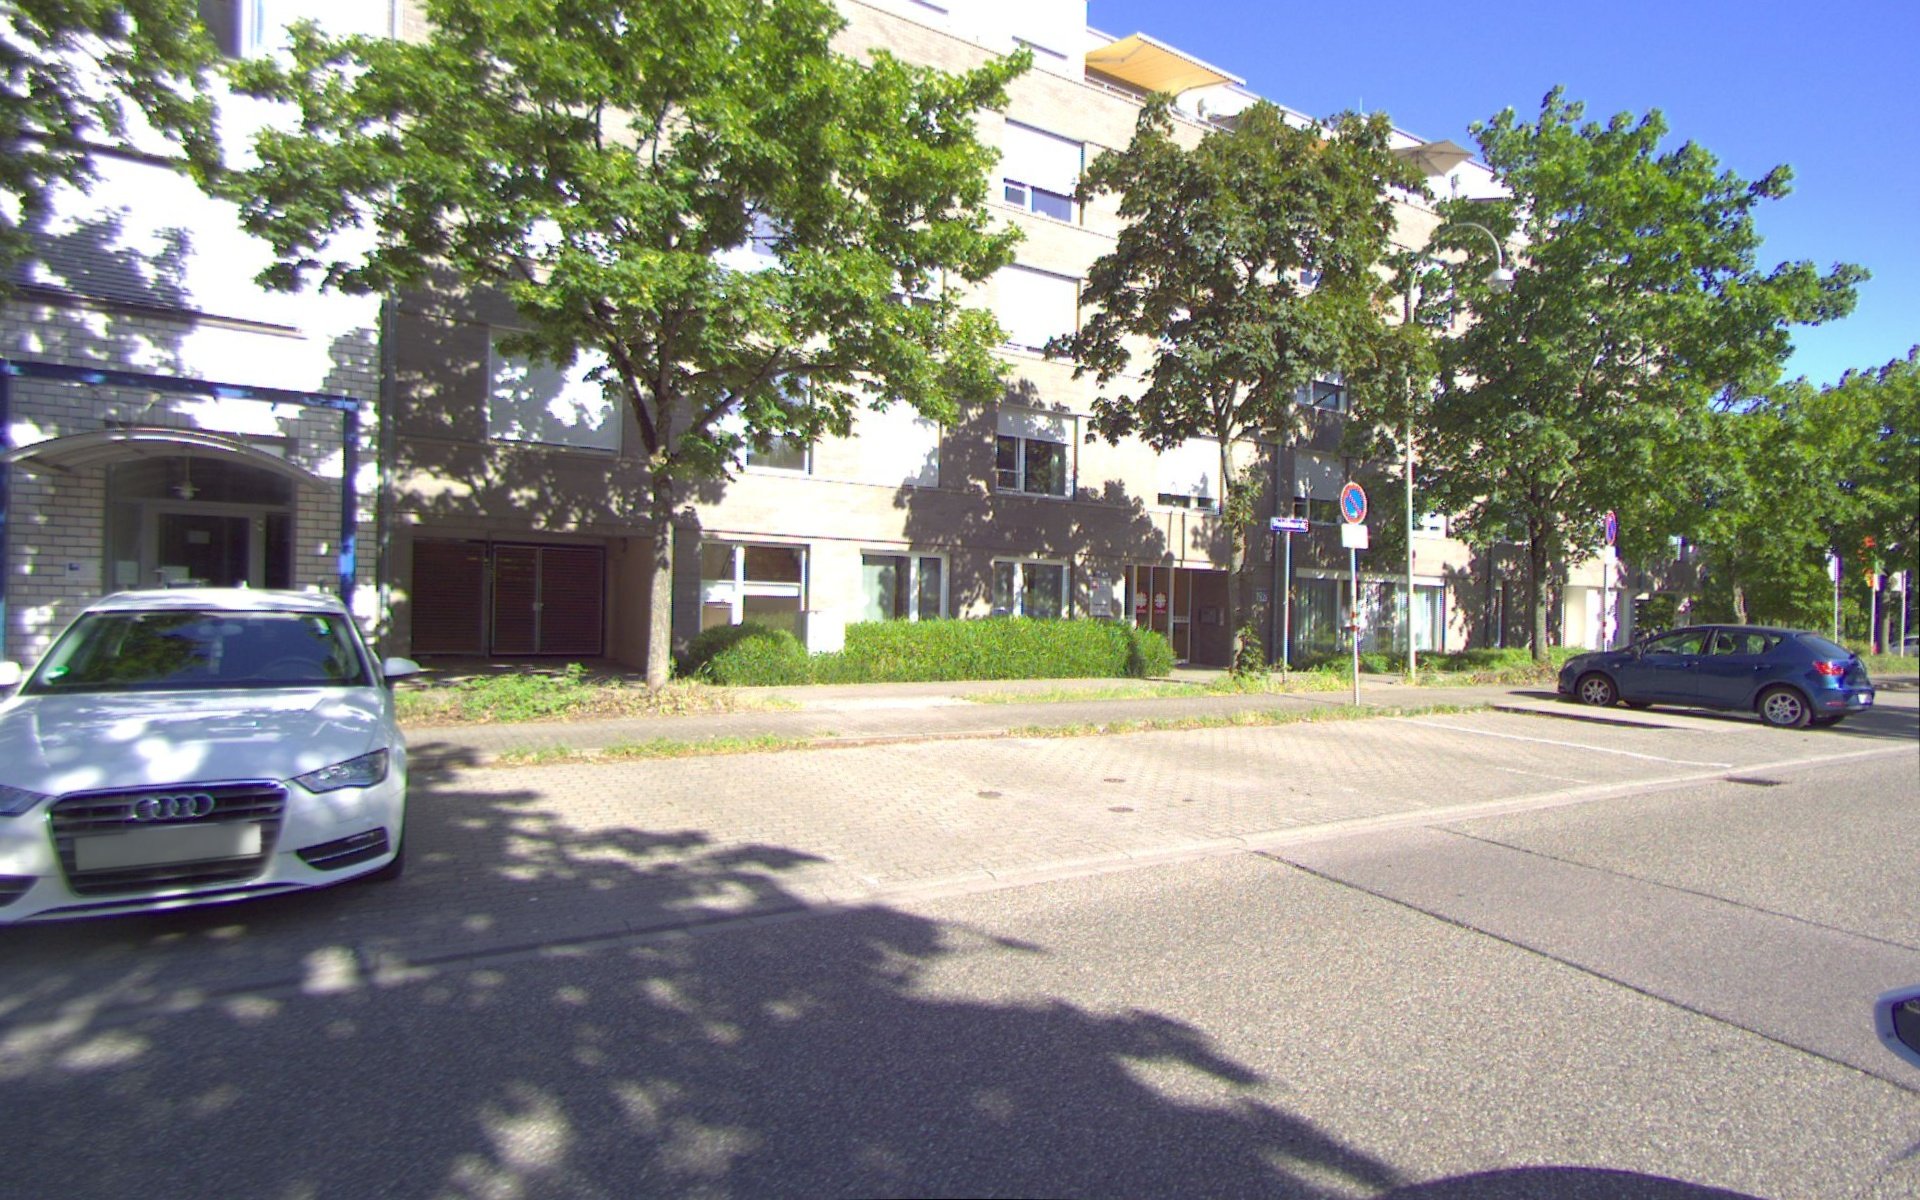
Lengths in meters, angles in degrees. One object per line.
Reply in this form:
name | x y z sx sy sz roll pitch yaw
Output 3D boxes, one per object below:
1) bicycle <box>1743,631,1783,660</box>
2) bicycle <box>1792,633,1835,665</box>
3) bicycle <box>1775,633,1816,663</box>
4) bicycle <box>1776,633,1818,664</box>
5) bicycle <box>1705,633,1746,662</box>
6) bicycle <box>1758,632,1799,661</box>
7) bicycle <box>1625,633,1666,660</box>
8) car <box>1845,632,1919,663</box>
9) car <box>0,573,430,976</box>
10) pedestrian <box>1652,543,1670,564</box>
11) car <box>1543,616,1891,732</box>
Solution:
bicycle | 30.129 1.714 37.679 2.168 1.061 0.435 2 0 -31
bicycle | 29.846 1.713 35.107 2.168 1.061 0.435 2 0 -31
bicycle | 30.604 1.751 36.789 2.168 1.061 0.435 2 0 -31
bicycle | 29.607 1.706 35.511 2.168 1.061 0.435 2 0 -31
bicycle | 28.487 1.768 37.364 2.168 1.061 0.435 2 0 -31
bicycle | 30.357 1.731 37.243 2.168 1.061 0.435 2 0 -31
bicycle | 27.256 1.855 39.920 2.168 1.061 0.435 2 0 -31
car | 46.706 2.343 49.692 1.605 1.470 4.060 2 -2 -29
car | -4.213 0.644 5.821 1.780 1.500 4.236 1 0 -31
pedestrian | 25.290 -1.673 36.231 0.424 0.695 0.412 2 0 -39
car | 11.616 1.049 15.681 1.798 1.430 3.962 2 0 -34
